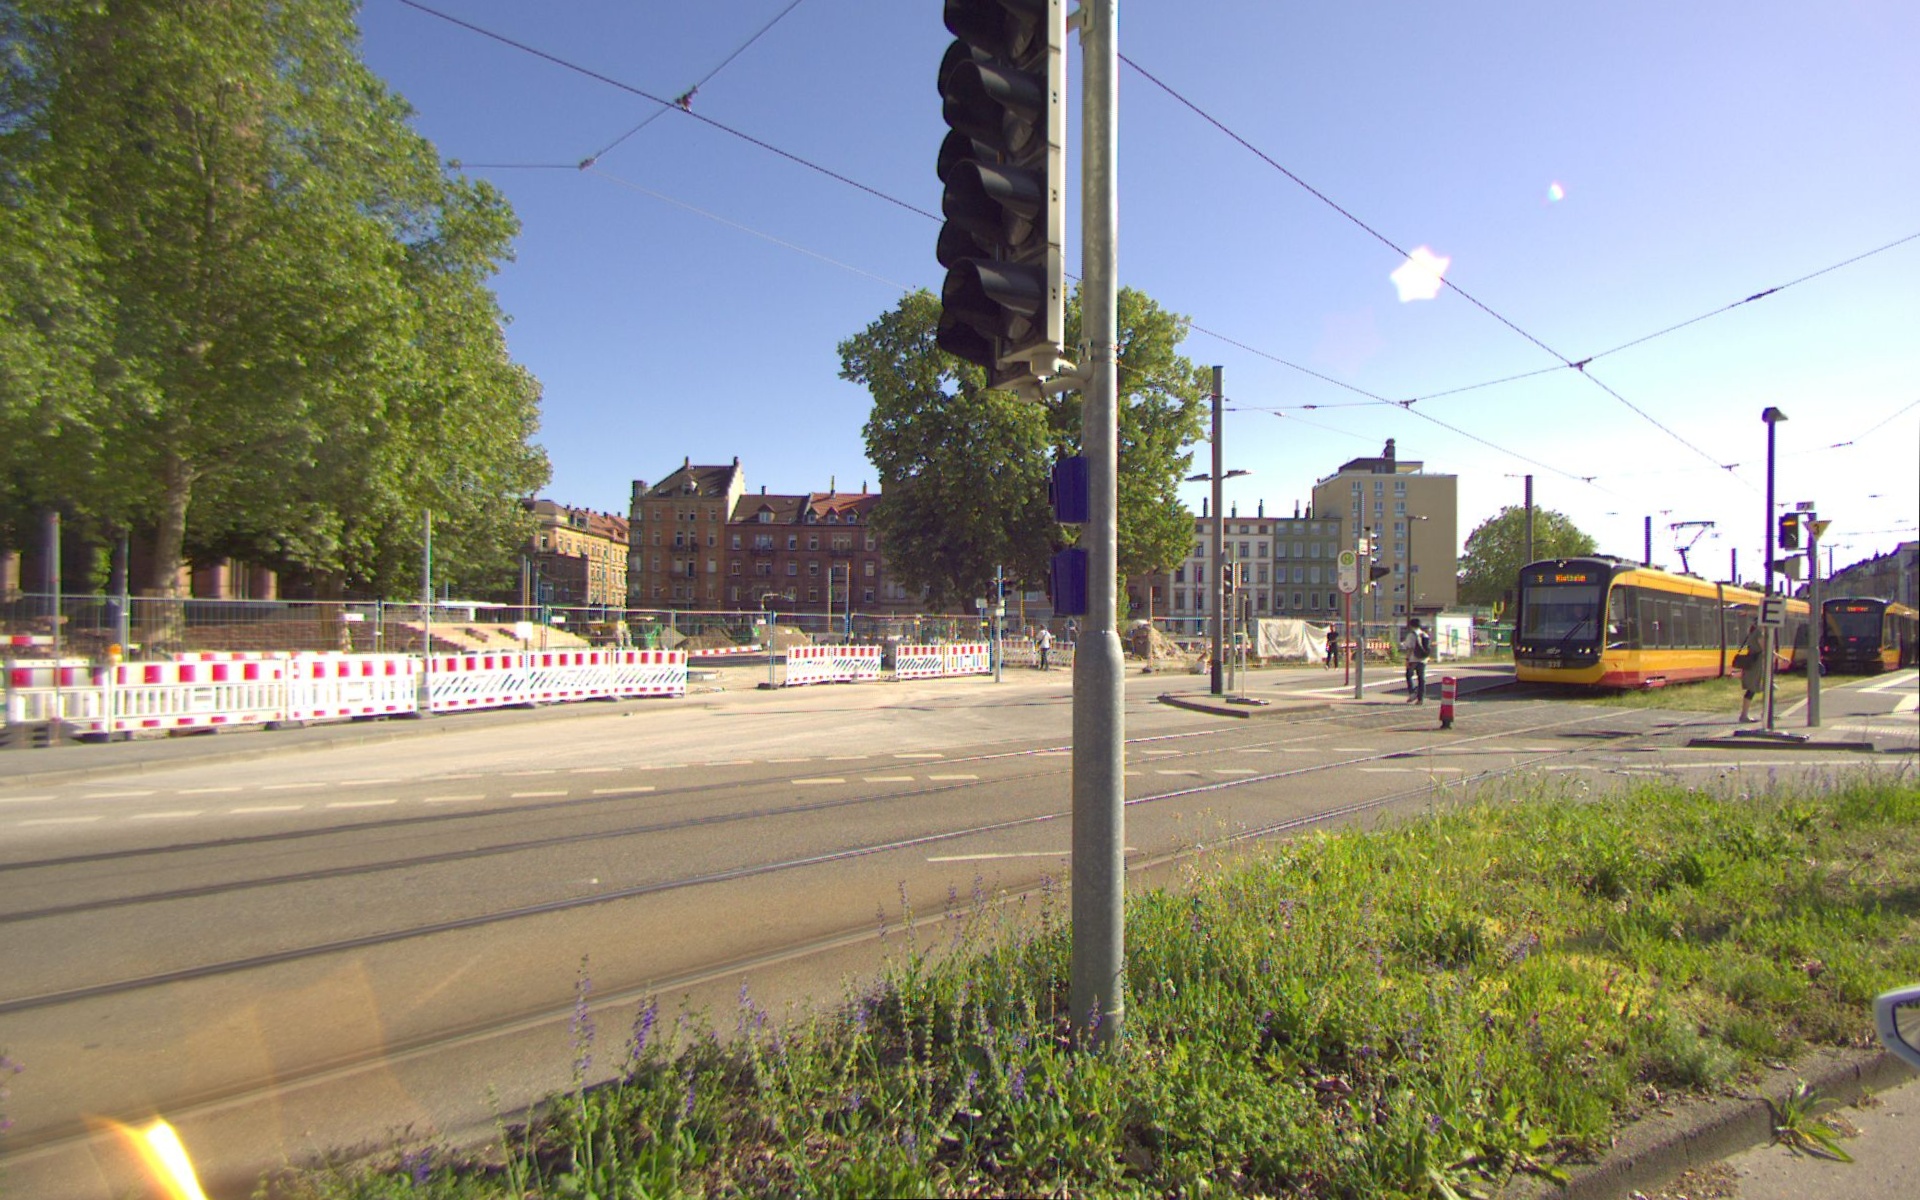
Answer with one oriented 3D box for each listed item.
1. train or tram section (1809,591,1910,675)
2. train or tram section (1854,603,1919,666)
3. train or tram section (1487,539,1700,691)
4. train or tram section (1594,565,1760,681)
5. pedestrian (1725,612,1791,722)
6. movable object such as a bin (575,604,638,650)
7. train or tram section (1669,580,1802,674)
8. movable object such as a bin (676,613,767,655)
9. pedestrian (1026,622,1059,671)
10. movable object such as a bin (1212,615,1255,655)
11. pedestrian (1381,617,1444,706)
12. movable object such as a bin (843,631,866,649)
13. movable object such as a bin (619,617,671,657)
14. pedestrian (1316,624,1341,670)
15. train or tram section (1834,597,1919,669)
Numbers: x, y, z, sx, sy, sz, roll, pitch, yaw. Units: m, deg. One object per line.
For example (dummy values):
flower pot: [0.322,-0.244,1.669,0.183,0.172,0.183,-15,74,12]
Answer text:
train or tram section: [42.264,1.544,47.036,10.473,3.554,2.843,2,-2,-44]
train or tram section: [57.157,2.113,61.556,10.472,3.554,2.843,2,-1,-44]
train or tram section: [18.010,0.514,28.125,10.411,3.554,2.789,2,-2,-45]
train or tram section: [25.444,0.850,35.343,10.537,3.554,2.789,2,-1,-44]
pedestrian: [14.239,1.166,17.933,0.888,1.875,0.760,-1,1,39]
movable object such as a bin: [-26.584,2.034,75.791,3.060,3.214,5.244,2,-1,-5]
train or tram section: [33.211,1.180,42.779,11.132,3.554,2.790,2,-1,-43]
movable object such as a bin: [-17.060,2.430,72.140,5.968,2.795,1.894,2,-1,-3]
pedestrian: [3.075,1.740,37.449,0.855,1.791,0.966,1,-2,-30]
movable object such as a bin: [20.559,2.615,75.672,1.798,2.833,3.997,2,-1,-5]
pedestrian: [9.742,1.309,21.655,0.748,1.856,1.016,2,-2,-16]
movable object such as a bin: [-10.148,3.850,96.794,1.716,1.702,3.802,0,-1,2]
movable object such as a bin: [-20.155,2.344,64.486,1.857,2.377,4.230,2,-1,0]
pedestrian: [14.579,1.853,39.730,0.795,1.791,0.661,2,-2,-45]
train or tram section: [49.664,1.808,54.282,10.473,3.554,2.843,2,-2,-44]
